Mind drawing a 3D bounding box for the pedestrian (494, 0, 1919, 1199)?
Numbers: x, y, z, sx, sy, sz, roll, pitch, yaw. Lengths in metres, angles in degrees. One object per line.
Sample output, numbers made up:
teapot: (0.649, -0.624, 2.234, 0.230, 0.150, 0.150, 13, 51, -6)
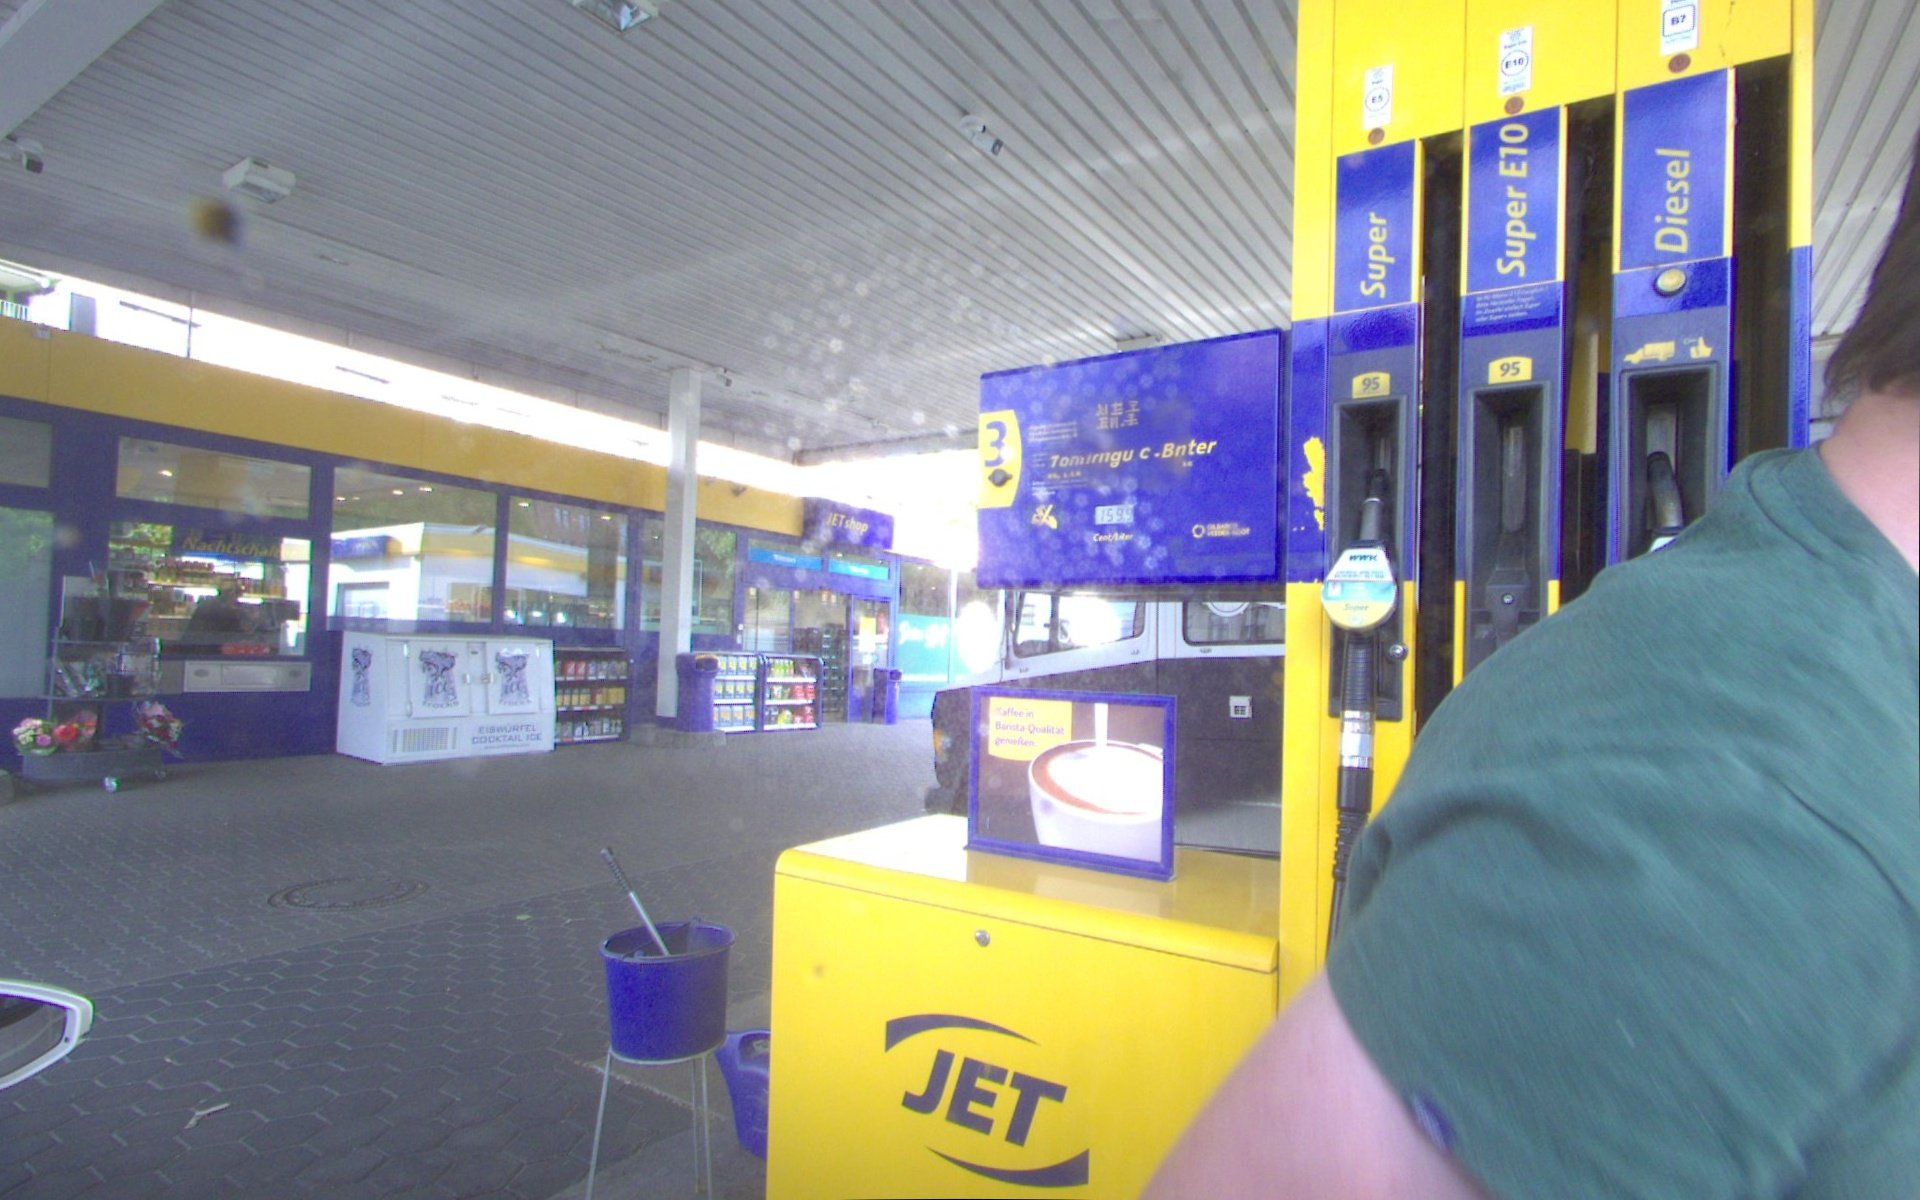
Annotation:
pedestrian: (0.538, 0.559, 0.540, 1.167, 1.750, 0.988, -2, -2, 35)

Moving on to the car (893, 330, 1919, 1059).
car: (2.356, 0.434, 6.003, 5.271, 2.759, 2.193, -1, -3, 34)
